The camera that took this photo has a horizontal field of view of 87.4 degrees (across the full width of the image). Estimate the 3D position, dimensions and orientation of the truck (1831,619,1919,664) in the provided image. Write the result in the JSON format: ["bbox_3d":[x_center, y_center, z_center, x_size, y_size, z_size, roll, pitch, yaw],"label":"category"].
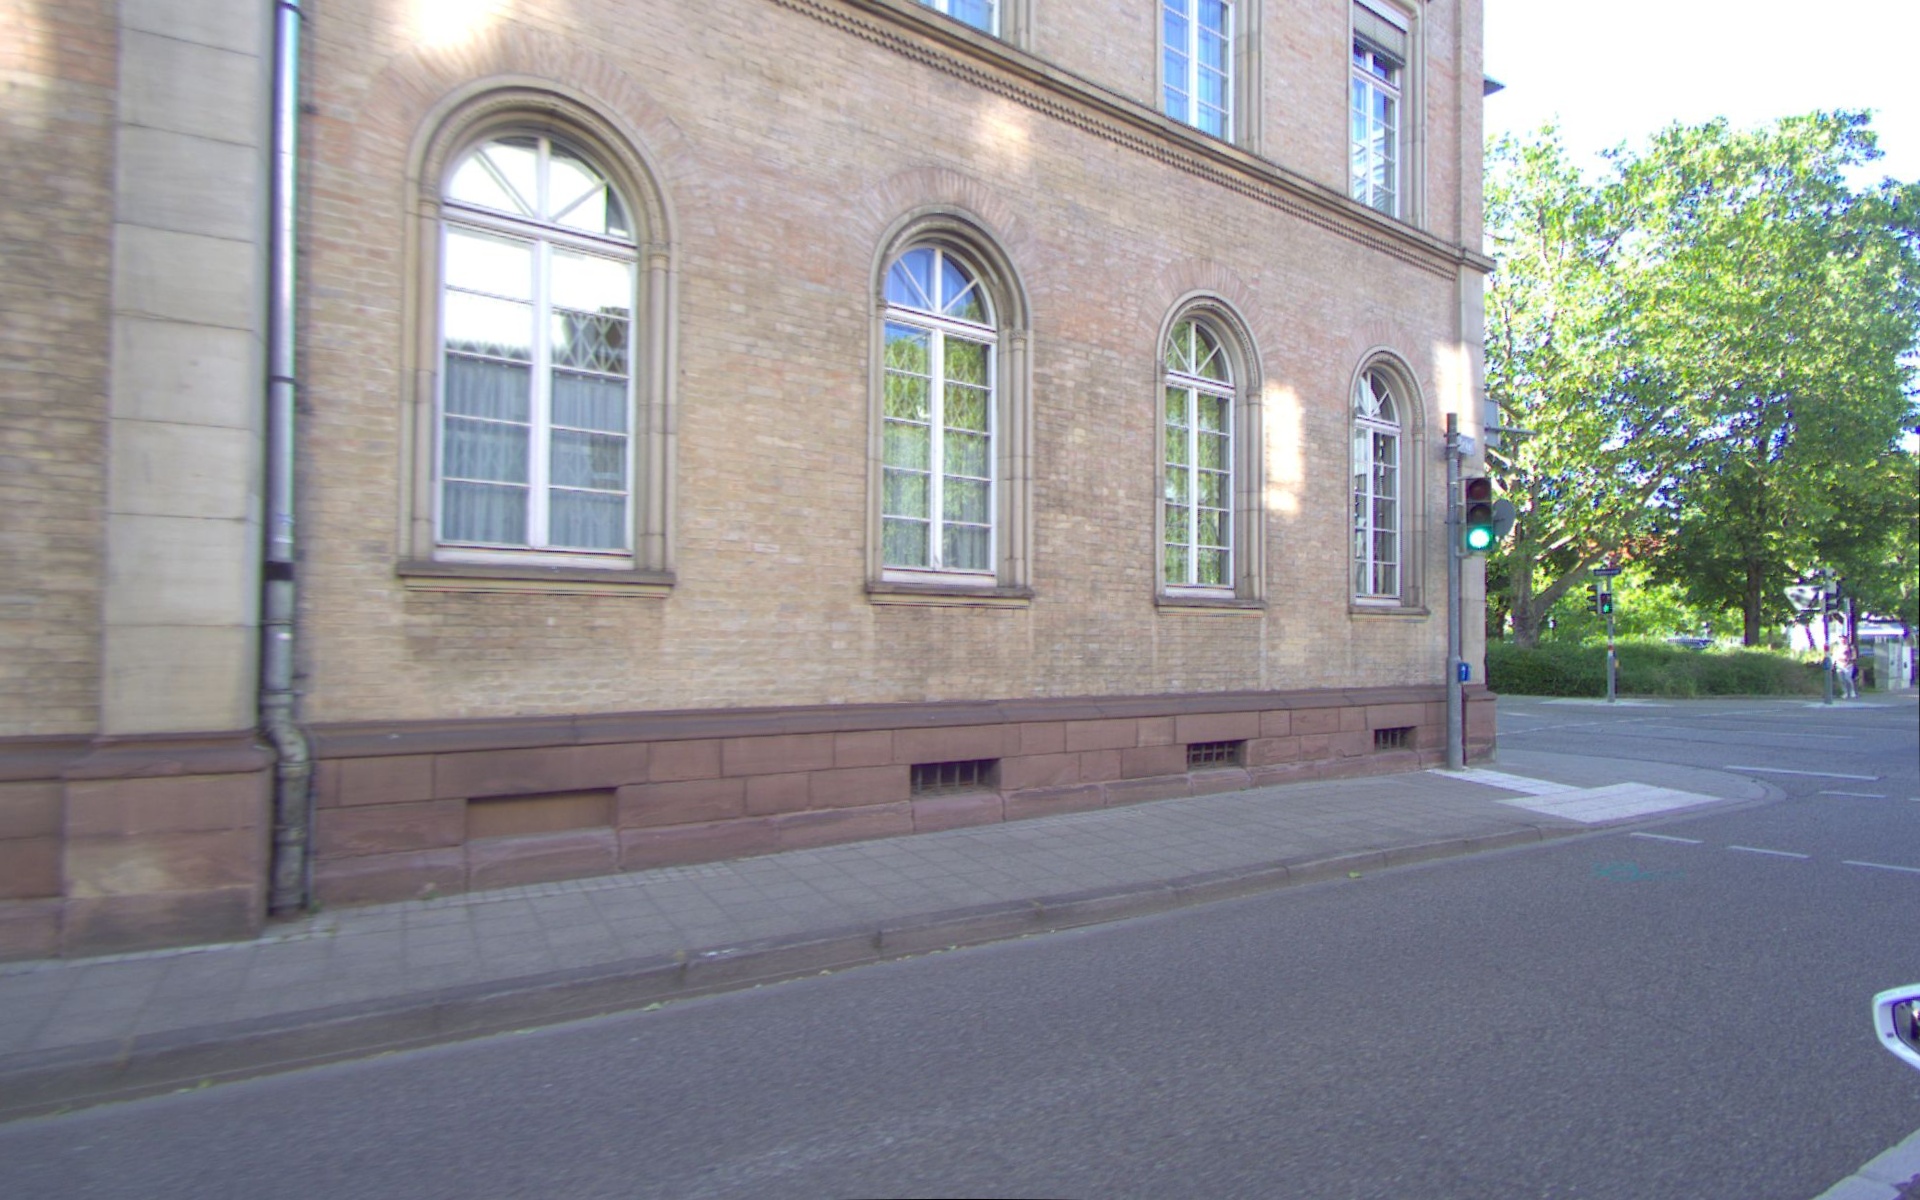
[{"bbox_3d":[51.225,2.255,55.190,2.068,2.431,4.793,1,-1,-37],"label":"truck"}]

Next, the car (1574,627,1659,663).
[{"bbox_3d":[45.695,3.182,70.000,2.055,2.422,4.524,2,-4,-36],"label":"car"}]

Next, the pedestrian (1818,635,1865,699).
[{"bbox_3d":[24.683,1.872,28.131,0.944,1.745,0.699,2,-3,-31],"label":"pedestrian"}]
